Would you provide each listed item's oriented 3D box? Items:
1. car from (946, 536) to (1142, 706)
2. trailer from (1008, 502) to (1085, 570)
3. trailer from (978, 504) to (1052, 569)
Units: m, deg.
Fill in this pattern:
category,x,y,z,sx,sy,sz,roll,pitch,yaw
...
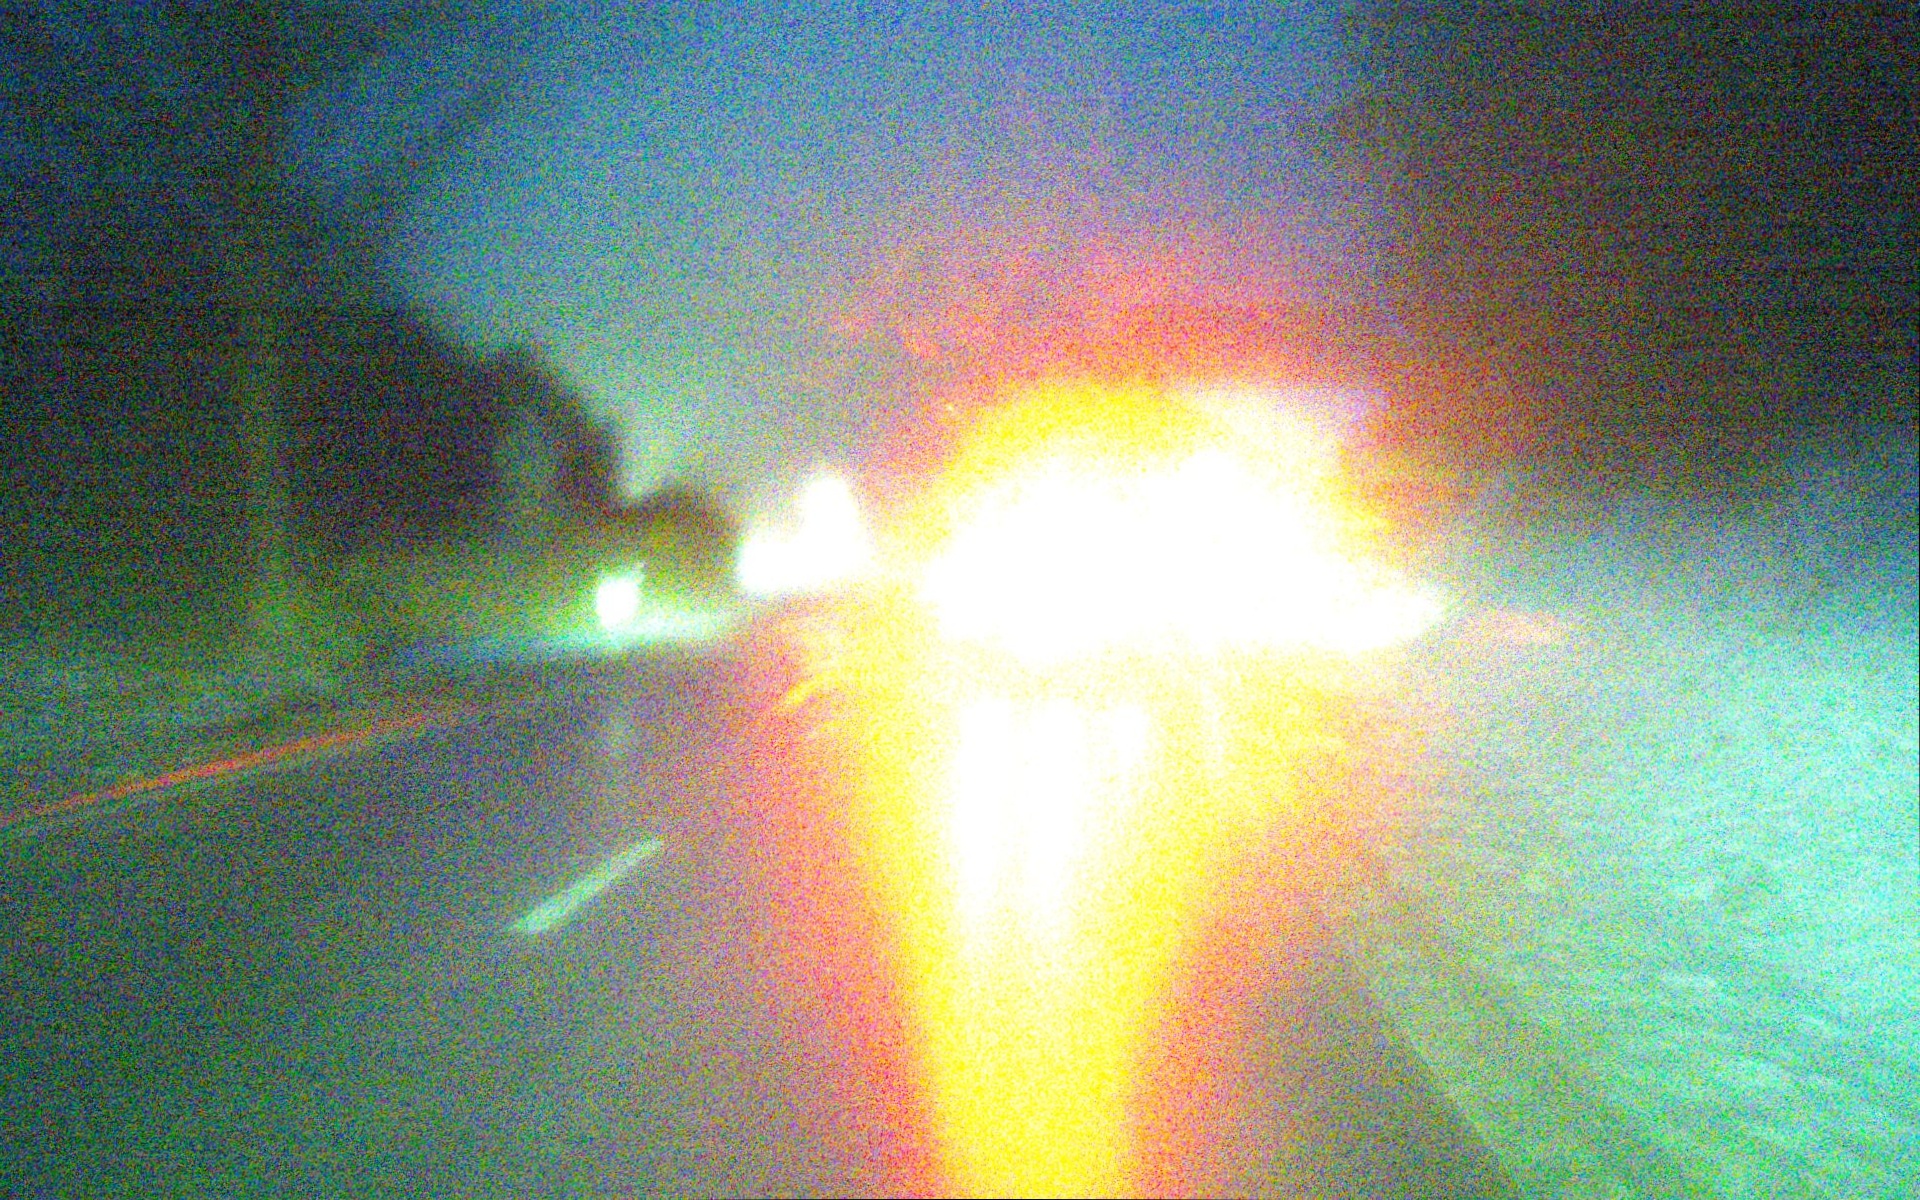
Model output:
category,x,y,z,sx,sy,sz,roll,pitch,yaw
car,0.901,0.168,34.917,1.802,1.623,3.615,0,1,4
trailer,3.076,-2.285,123.331,1.605,2.344,4.432,1,0,-14
trailer,2.013,-2.354,128.054,1.629,2.356,4.654,1,0,-13
